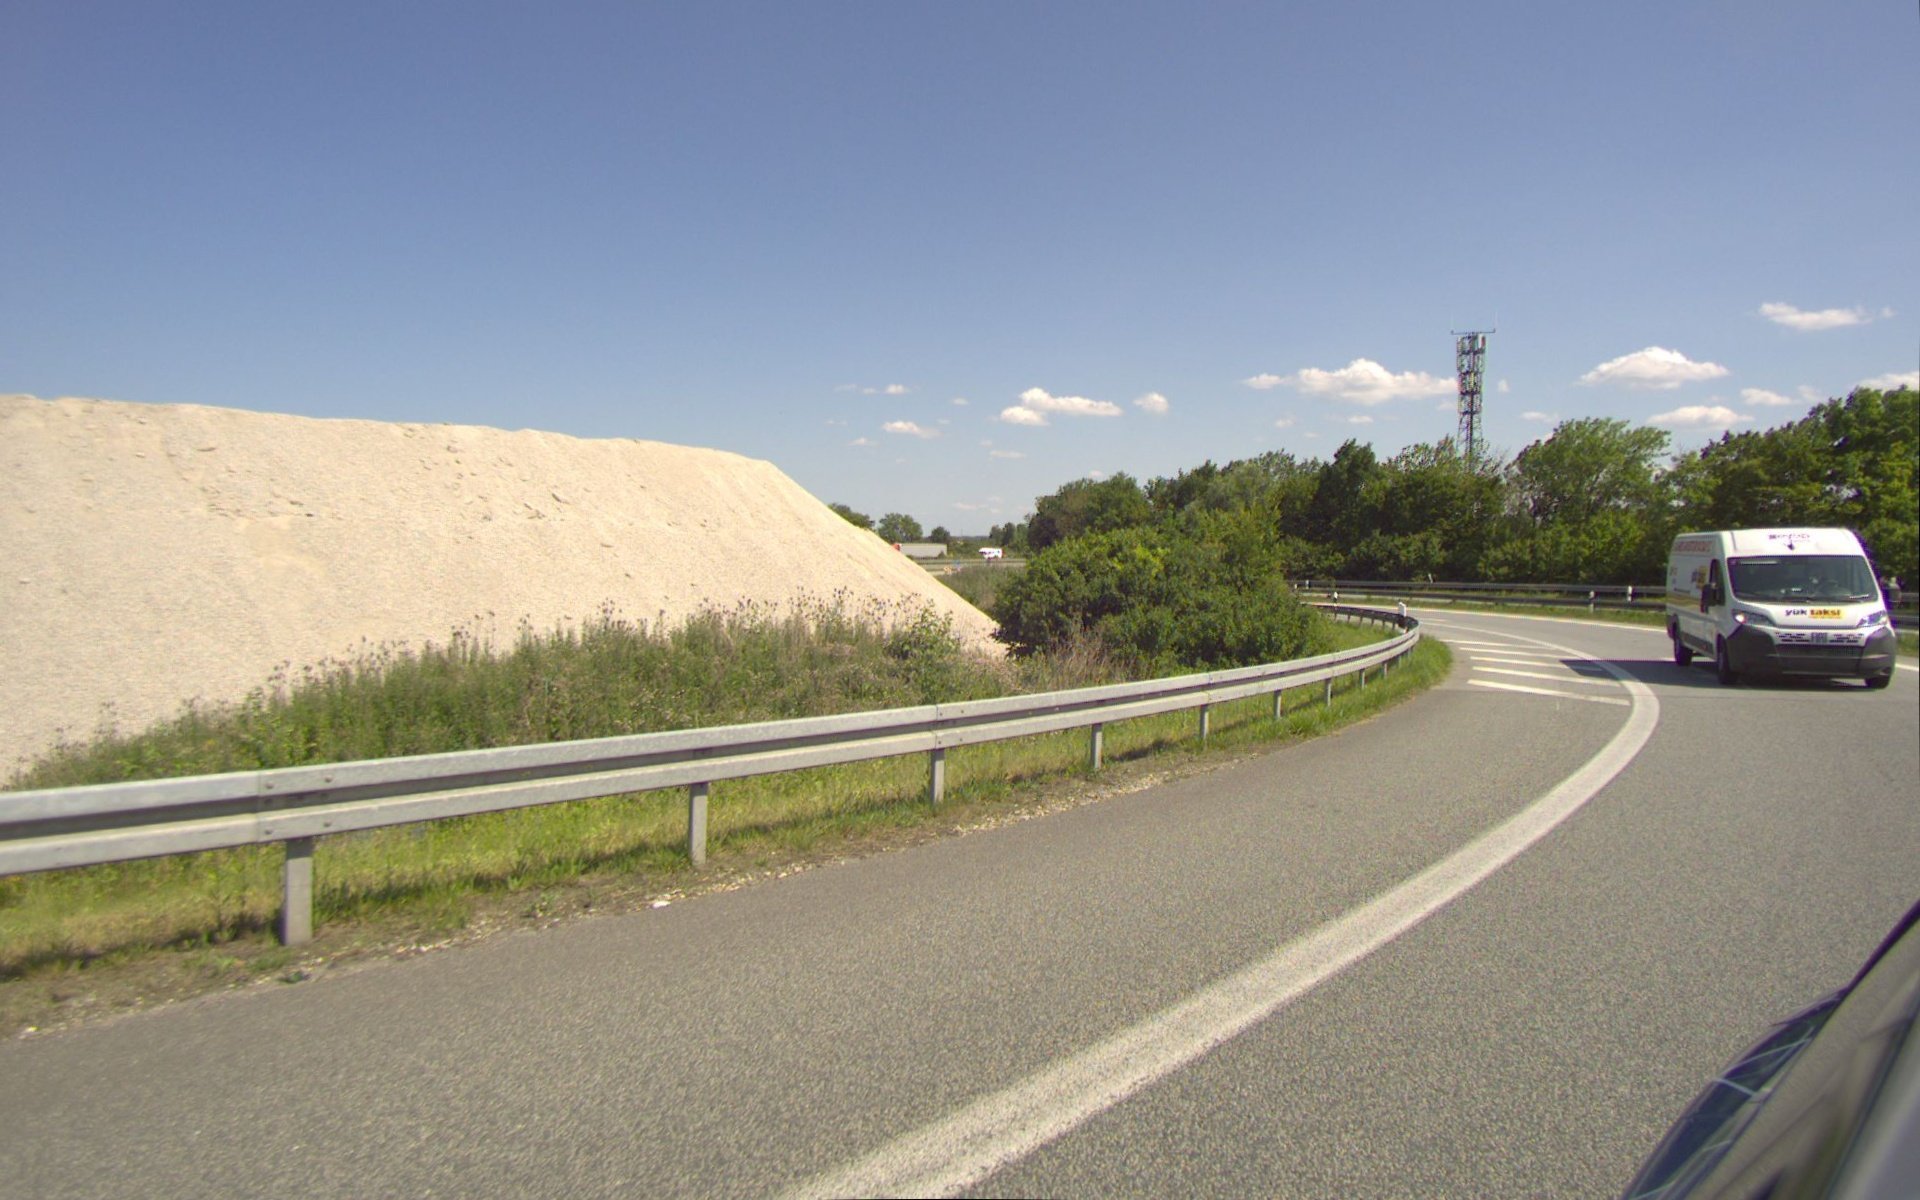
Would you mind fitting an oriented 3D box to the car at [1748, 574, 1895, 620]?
[{"bbox_3d":[30.283,-0.139,35.785,1.770,1.466,4.691,-1,1,9],"label":"car"}]

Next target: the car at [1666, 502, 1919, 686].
[{"bbox_3d":[13.827,-0.174,17.229,2.069,2.555,6.180,-2,1,27],"label":"car"}]
